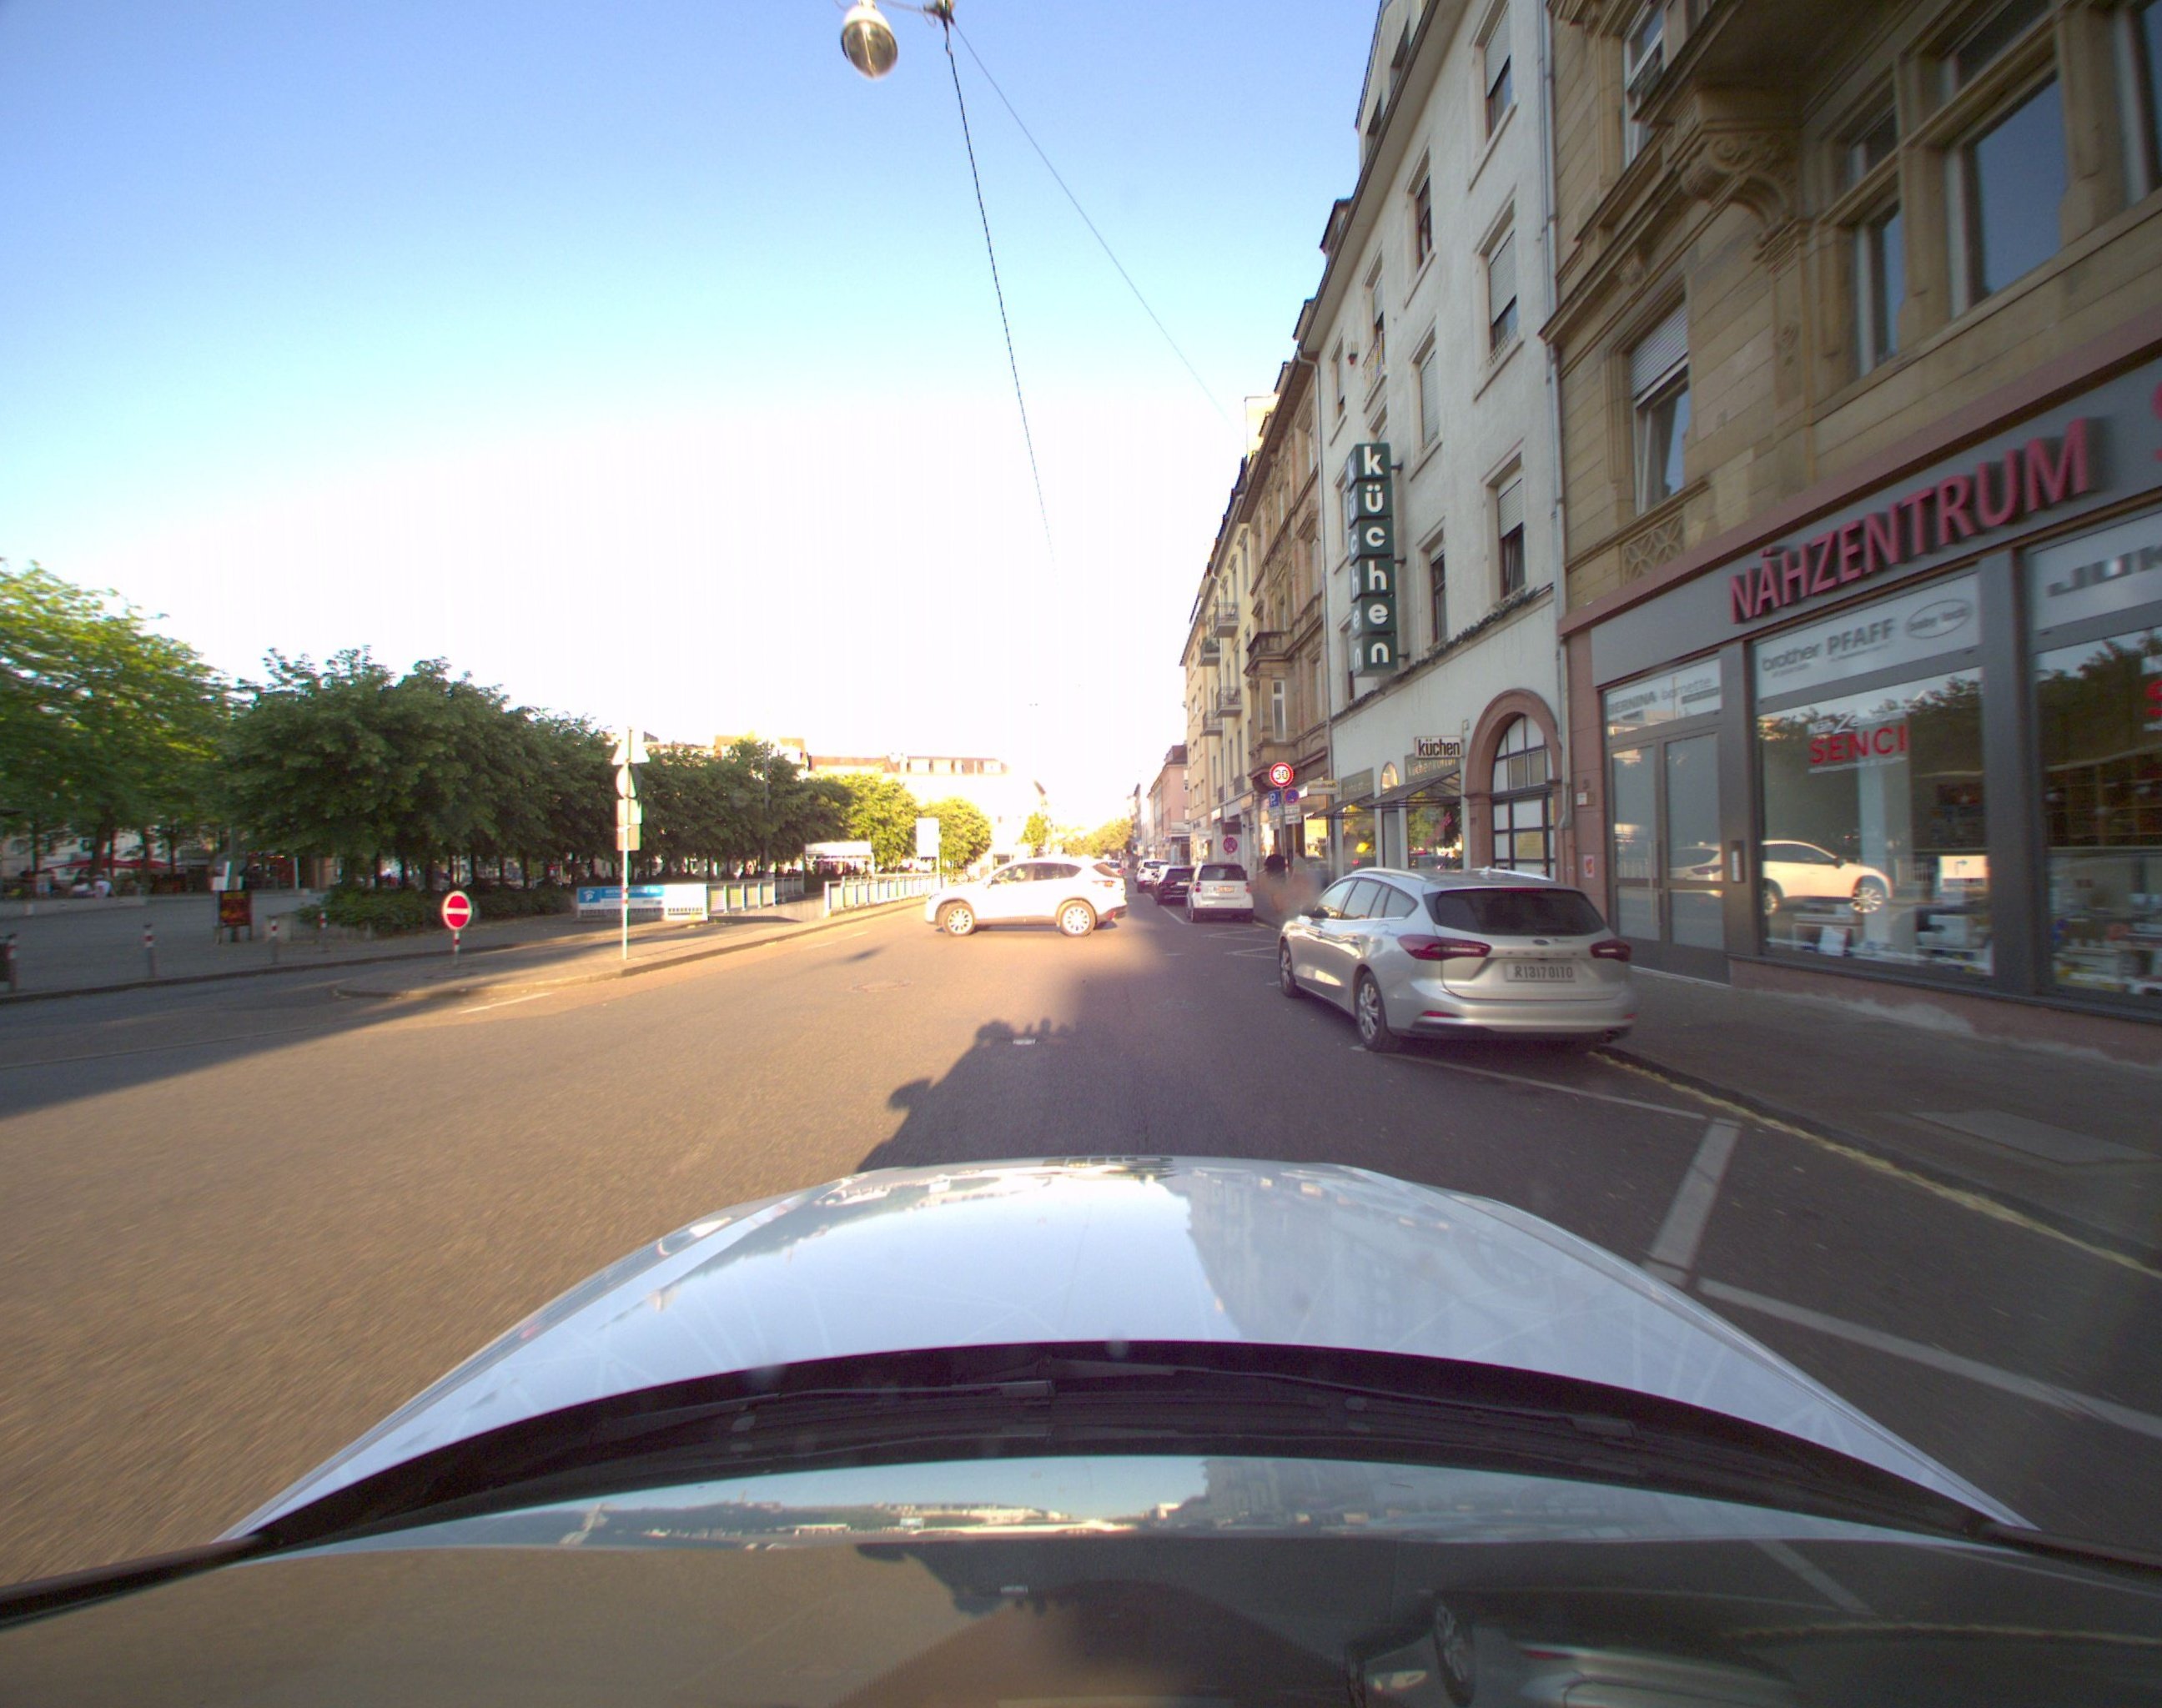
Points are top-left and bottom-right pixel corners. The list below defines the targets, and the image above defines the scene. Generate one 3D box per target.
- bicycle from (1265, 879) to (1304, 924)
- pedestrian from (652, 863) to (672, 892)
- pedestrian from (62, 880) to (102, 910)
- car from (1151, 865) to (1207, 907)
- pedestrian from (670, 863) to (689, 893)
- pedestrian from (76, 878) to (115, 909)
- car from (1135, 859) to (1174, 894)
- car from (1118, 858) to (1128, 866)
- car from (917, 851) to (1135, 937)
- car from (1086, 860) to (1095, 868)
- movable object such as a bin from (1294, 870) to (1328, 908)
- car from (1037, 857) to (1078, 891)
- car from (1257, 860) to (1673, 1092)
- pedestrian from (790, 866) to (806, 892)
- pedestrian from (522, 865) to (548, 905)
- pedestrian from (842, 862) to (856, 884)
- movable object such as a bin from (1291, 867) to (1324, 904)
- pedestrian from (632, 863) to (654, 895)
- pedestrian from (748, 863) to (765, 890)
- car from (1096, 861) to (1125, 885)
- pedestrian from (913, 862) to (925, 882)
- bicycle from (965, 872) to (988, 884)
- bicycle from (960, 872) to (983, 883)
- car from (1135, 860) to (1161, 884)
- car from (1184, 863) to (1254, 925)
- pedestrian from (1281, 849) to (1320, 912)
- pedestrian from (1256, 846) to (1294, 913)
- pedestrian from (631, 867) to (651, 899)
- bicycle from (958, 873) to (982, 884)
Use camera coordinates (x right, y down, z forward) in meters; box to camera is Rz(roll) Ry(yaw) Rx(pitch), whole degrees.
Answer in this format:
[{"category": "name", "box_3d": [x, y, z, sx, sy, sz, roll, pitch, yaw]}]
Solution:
[{"category": "bicycle", "box_3d": [5.111, 1.167, 20.522, 0.502, 1.016, 1.947, -1, 0, 1]}, {"category": "pedestrian", "box_3d": [-22.910, 1.270, 44.557, 0.783, 1.595, 0.571, 0, -1, 21]}, {"category": "pedestrian", "box_3d": [-37.145, 1.523, 30.284, 0.716, 1.059, 0.606, -1, -1, -24]}, {"category": "car", "box_3d": [3.621, 1.161, 30.820, 1.723, 1.448, 4.526, 1, -1, 2]}, {"category": "pedestrian", "box_3d": [-21.860, 1.298, 44.338, 0.783, 1.595, 0.571, 0, -1, 21]}, {"category": "pedestrian", "box_3d": [-37.456, 1.498, 30.960, 0.716, 1.120, 0.606, -1, -1, -24]}, {"category": "car", "box_3d": [3.739, 1.130, 41.911, 1.723, 1.651, 4.286, 1, -1, 2]}, {"category": "car", "box_3d": [8.266, 1.525, 160.933, 1.890, 1.581, 3.852, -1, 0, 1]}, {"category": "car", "box_3d": [-1.160, 0.866, 18.184, 4.421, 1.761, 2.007, -1, -1, 12]}, {"category": "car", "box_3d": [1.997, 1.930, 164.319, 1.773, 1.547, 4.000, 0, 0, 1]}, {"category": "movable object such as a bin", "box_3d": [6.764, 1.028, 23.988, 0.771, 1.070, 0.618, -3, -1, 1]}, {"category": "car", "box_3d": [-1.149, 0.999, 41.606, 1.890, 1.649, 4.105, 0, -1, 1]}, {"category": "car", "box_3d": [3.127, 0.866, 7.913, 1.753, 1.537, 4.820, 1, -1, 0]}, {"category": "pedestrian", "box_3d": [-18.052, 1.595, 51.990, 0.672, 1.595, 0.680, 0, -1, 21]}, {"category": "pedestrian", "box_3d": [-22.541, 1.272, 33.648, 0.703, 1.595, 0.673, 0, -1, -17]}, {"category": "pedestrian", "box_3d": [-16.535, 1.339, 58.036, 0.783, 1.595, 0.571, 0, -1, 21]}, {"category": "movable object such as a bin", "box_3d": [6.865, 0.949, 24.691, 0.771, 1.070, 0.618, -3, -1, 1]}, {"category": "pedestrian", "box_3d": [-22.408, 1.265, 41.671, 0.783, 1.595, 0.571, 0, -1, 21]}, {"category": "pedestrian", "box_3d": [-19.158, 1.328, 48.075, 0.672, 1.595, 0.680, 0, -1, 21]}, {"category": "car", "box_3d": [1.993, 1.259, 56.331, 1.890, 1.581, 4.001, 1, -1, 1]}, {"category": "pedestrian", "box_3d": [-13.571, 1.511, 68.275, 0.783, 1.595, 0.571, 0, -1, 21]}, {"category": "bicycle", "box_3d": [-8.574, 1.966, 66.680, 1.821, 0.853, 0.483, 2, -1, -3]}, {"category": "bicycle", "box_3d": [-9.088, 1.958, 67.601, 1.821, 0.853, 0.483, 2, -1, -3]}, {"category": "car", "box_3d": [4.842, 1.310, 59.385, 1.723, 1.652, 3.972, 1, -1, 2]}, {"category": "car", "box_3d": [3.659, 1.028, 22.033, 1.525, 1.537, 3.285, 0, -1, 3]}, {"category": "pedestrian", "box_3d": [6.214, 0.728, 23.092, 0.770, 1.711, 1.042, -3, 0, 1]}, {"category": "pedestrian", "box_3d": [5.496, 0.711, 23.091, 0.770, 1.827, 1.011, -3, 0, 1]}, {"category": "pedestrian", "box_3d": [-21.652, 1.420, 40.048, 0.672, 1.595, 0.571, 0, -1, 21]}, {"category": "bicycle", "box_3d": [-8.849, 1.947, 64.881, 1.821, 0.853, 0.483, 2, -1, -3]}]
